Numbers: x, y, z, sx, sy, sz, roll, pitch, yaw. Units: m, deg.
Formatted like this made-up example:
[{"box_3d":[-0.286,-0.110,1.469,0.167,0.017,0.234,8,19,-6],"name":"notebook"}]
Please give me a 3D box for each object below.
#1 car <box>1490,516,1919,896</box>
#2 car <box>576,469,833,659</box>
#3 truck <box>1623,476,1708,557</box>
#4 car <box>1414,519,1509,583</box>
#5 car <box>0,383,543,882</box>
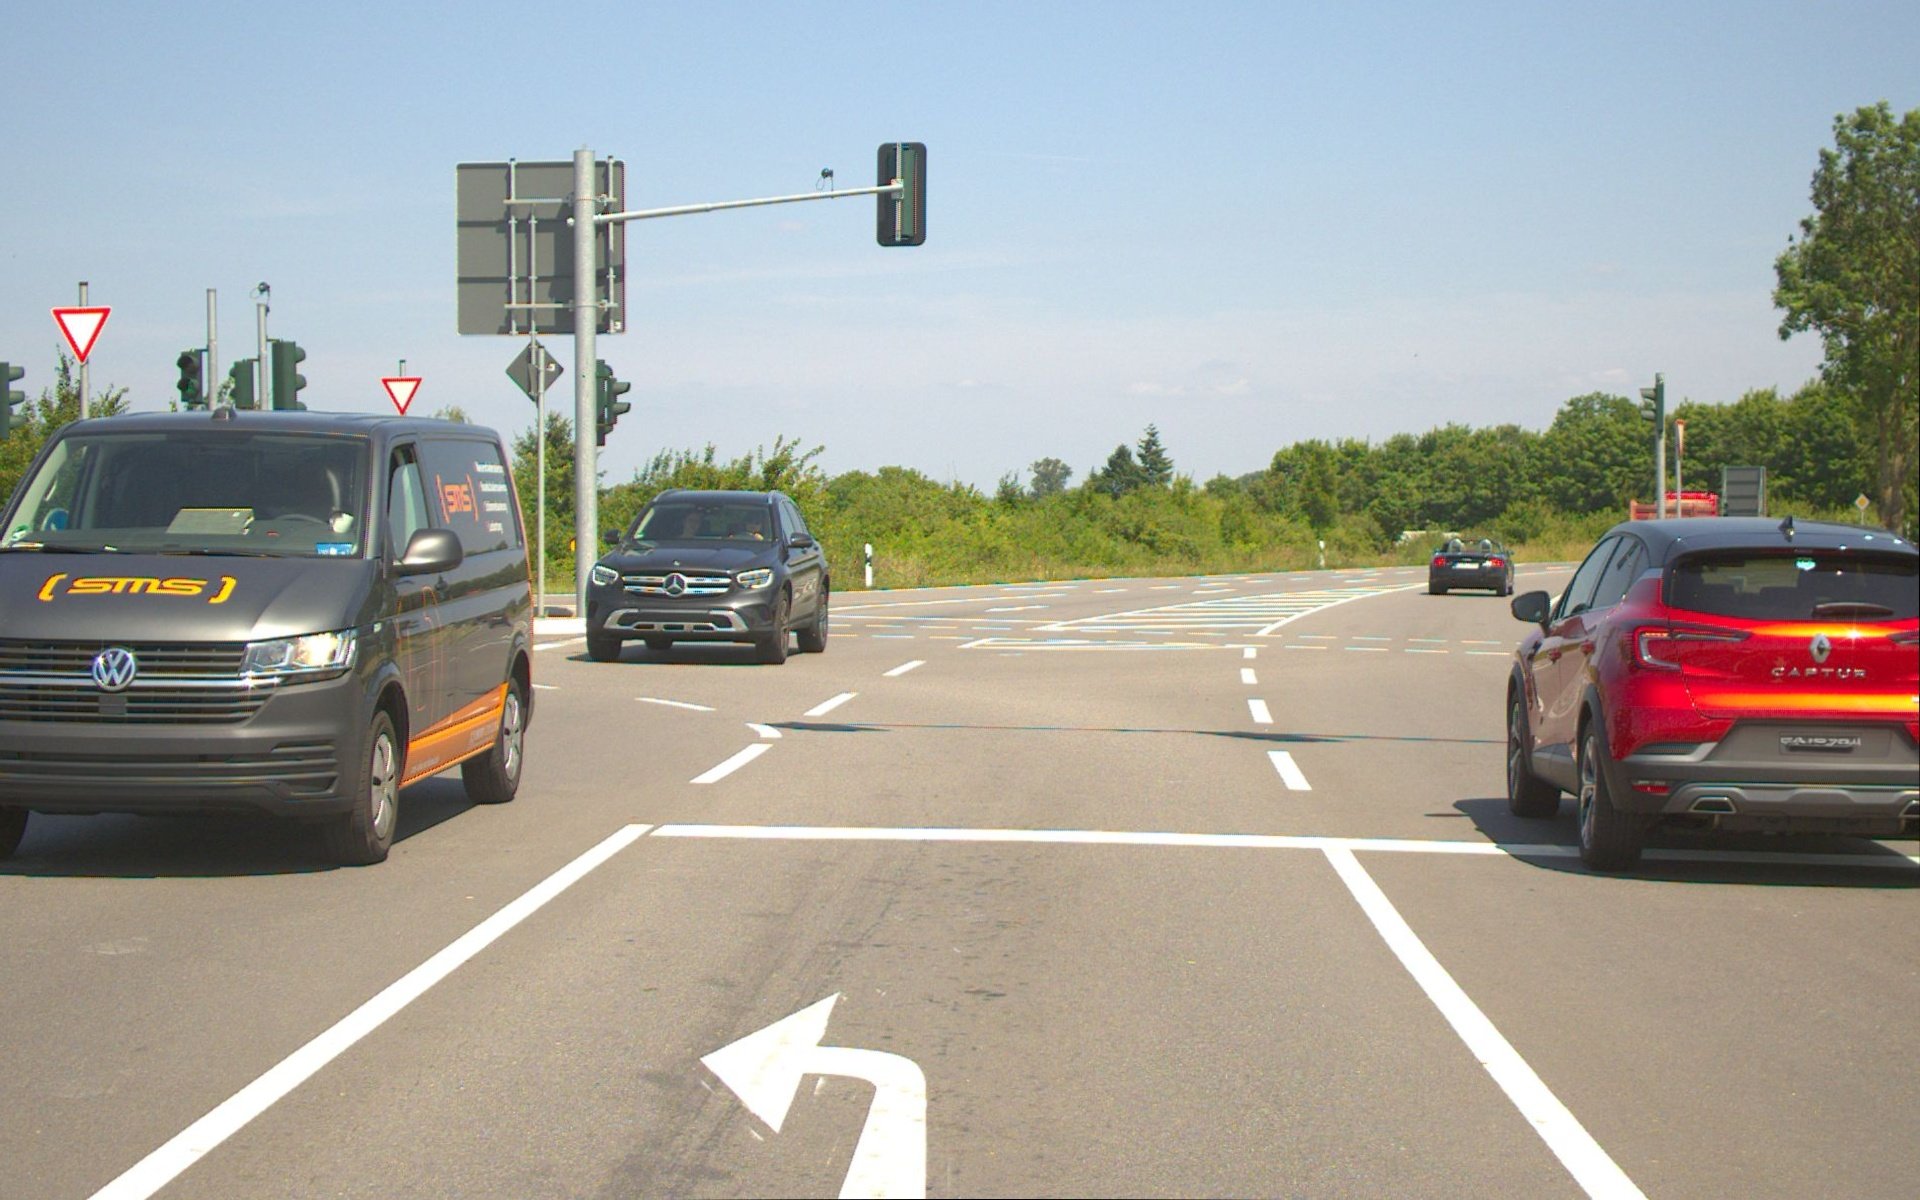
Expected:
[{"box_3d":[3.680,0.412,16.434,1.822,1.547,4.449,1,1,3],"name":"car"},{"box_3d":[-2.458,-0.400,34.238,1.931,1.733,4.889,1,2,3],"name":"car"},{"box_3d":[28.102,-3.288,136.744,2.716,3.042,8.158,0,0,16],"name":"truck"},{"box_3d":[11.438,-1.100,78.263,1.748,1.371,3.676,1,0,14],"name":"car"},{"box_3d":[-3.276,0.062,16.050,1.930,1.971,4.684,1,2,2],"name":"car"}]
